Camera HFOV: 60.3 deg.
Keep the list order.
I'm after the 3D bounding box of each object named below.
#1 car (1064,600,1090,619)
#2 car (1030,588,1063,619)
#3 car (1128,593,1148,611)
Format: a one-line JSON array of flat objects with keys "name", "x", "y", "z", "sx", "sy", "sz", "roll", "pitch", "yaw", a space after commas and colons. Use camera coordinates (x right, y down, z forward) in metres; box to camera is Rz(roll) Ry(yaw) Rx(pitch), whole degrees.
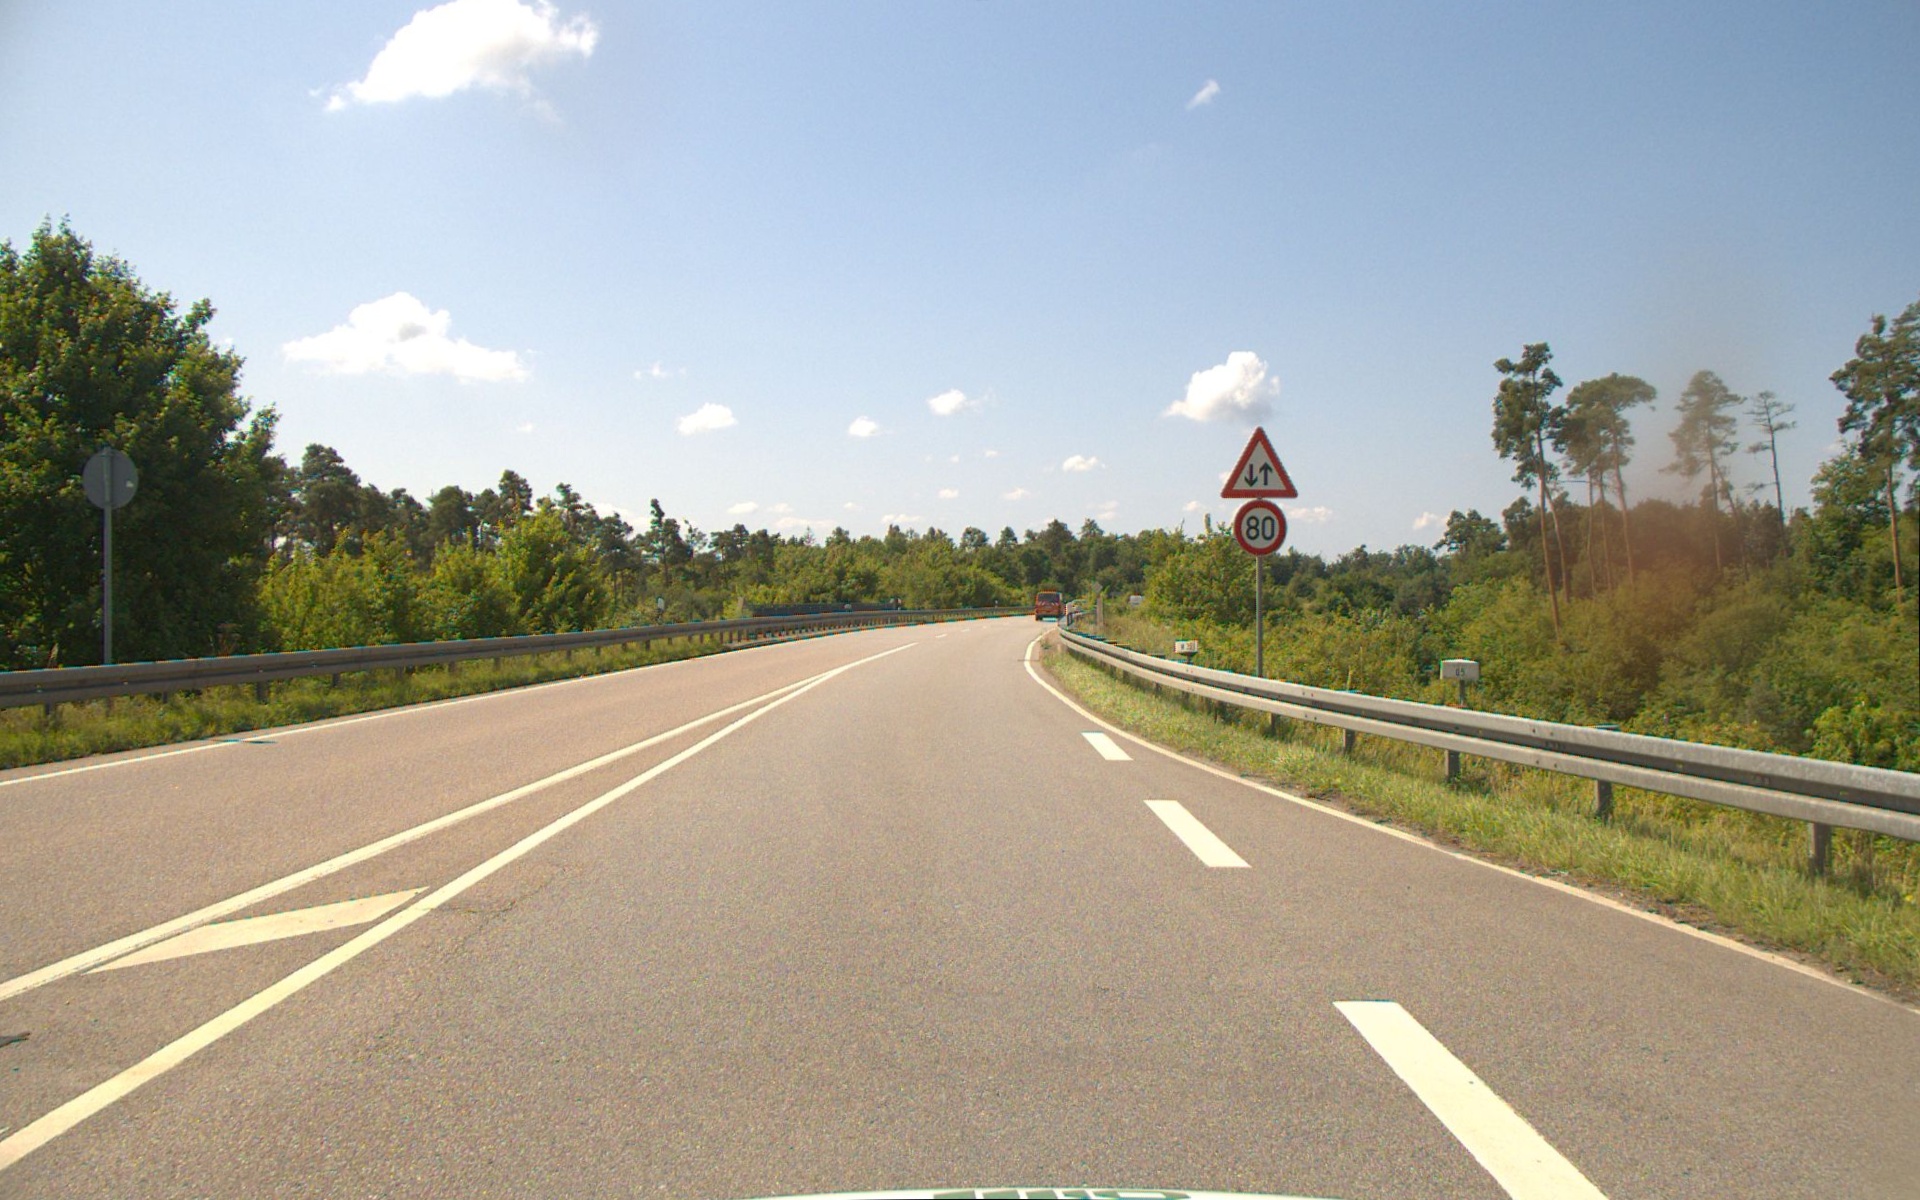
[{"name": "car", "x": 9.646, "y": 0.781, "z": 136.354, "sx": 1.965, "sy": 1.520, "sz": 4.241, "roll": 1, "pitch": 0, "yaw": 6}, {"name": "car", "x": 6.017, "y": 0.277, "z": 114.625, "sx": 2.033, "sy": 2.028, "sz": 5.115, "roll": 1, "pitch": 0, "yaw": 6}, {"name": "car", "x": 20.933, "y": 0.232, "z": 194.139, "sx": 2.138, "sy": 1.989, "sz": 5.808, "roll": 1, "pitch": 0, "yaw": 8}]
